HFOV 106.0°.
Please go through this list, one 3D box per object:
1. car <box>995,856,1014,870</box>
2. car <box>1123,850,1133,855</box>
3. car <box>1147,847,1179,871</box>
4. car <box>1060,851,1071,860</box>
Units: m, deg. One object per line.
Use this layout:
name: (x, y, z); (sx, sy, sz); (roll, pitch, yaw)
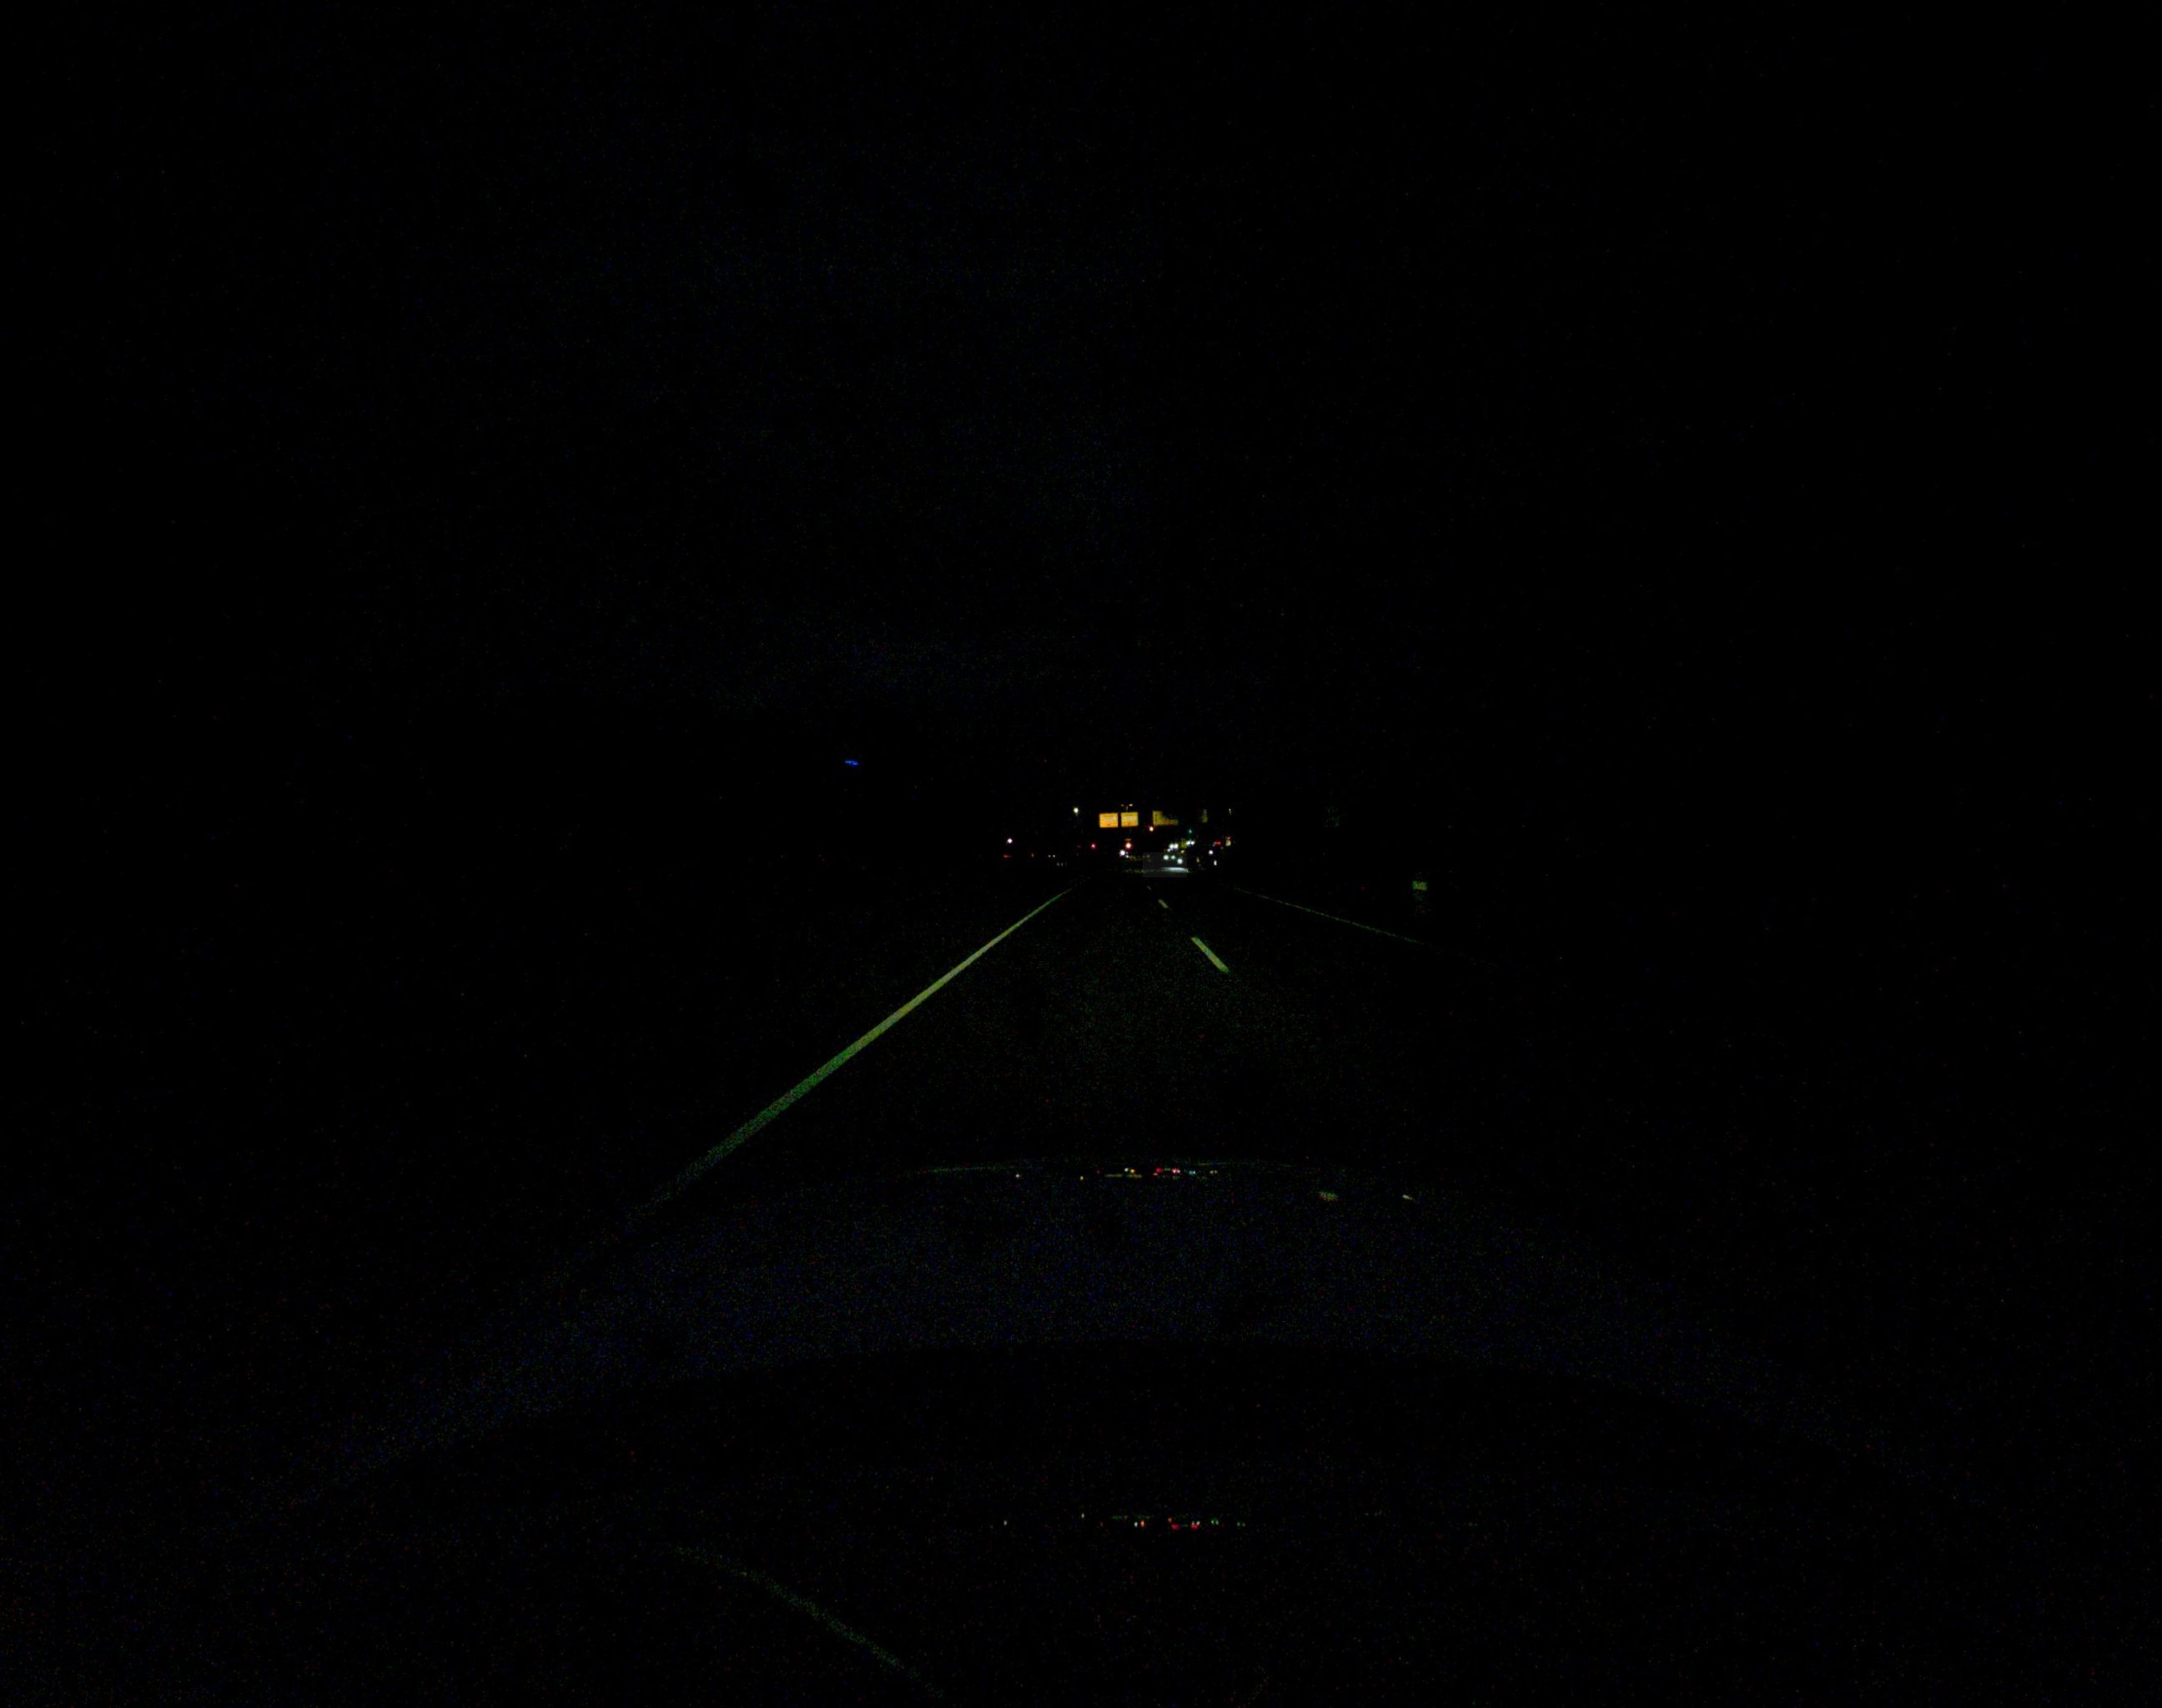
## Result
car: (-9.286, 1.087, 99.346); (1.764, 1.641, 4.662); (-3, 0, 1)
car: (12.314, -0.395, 212.549); (1.980, 1.425, 4.547); (-1, 1, 12)
car: (5.873, 0.332, 58.764); (2.000, 1.611, 3.846); (-1, 0, 1)
car: (-2.852, 0.330, 149.698); (1.694, 1.623, 4.309); (-1, 0, 2)
